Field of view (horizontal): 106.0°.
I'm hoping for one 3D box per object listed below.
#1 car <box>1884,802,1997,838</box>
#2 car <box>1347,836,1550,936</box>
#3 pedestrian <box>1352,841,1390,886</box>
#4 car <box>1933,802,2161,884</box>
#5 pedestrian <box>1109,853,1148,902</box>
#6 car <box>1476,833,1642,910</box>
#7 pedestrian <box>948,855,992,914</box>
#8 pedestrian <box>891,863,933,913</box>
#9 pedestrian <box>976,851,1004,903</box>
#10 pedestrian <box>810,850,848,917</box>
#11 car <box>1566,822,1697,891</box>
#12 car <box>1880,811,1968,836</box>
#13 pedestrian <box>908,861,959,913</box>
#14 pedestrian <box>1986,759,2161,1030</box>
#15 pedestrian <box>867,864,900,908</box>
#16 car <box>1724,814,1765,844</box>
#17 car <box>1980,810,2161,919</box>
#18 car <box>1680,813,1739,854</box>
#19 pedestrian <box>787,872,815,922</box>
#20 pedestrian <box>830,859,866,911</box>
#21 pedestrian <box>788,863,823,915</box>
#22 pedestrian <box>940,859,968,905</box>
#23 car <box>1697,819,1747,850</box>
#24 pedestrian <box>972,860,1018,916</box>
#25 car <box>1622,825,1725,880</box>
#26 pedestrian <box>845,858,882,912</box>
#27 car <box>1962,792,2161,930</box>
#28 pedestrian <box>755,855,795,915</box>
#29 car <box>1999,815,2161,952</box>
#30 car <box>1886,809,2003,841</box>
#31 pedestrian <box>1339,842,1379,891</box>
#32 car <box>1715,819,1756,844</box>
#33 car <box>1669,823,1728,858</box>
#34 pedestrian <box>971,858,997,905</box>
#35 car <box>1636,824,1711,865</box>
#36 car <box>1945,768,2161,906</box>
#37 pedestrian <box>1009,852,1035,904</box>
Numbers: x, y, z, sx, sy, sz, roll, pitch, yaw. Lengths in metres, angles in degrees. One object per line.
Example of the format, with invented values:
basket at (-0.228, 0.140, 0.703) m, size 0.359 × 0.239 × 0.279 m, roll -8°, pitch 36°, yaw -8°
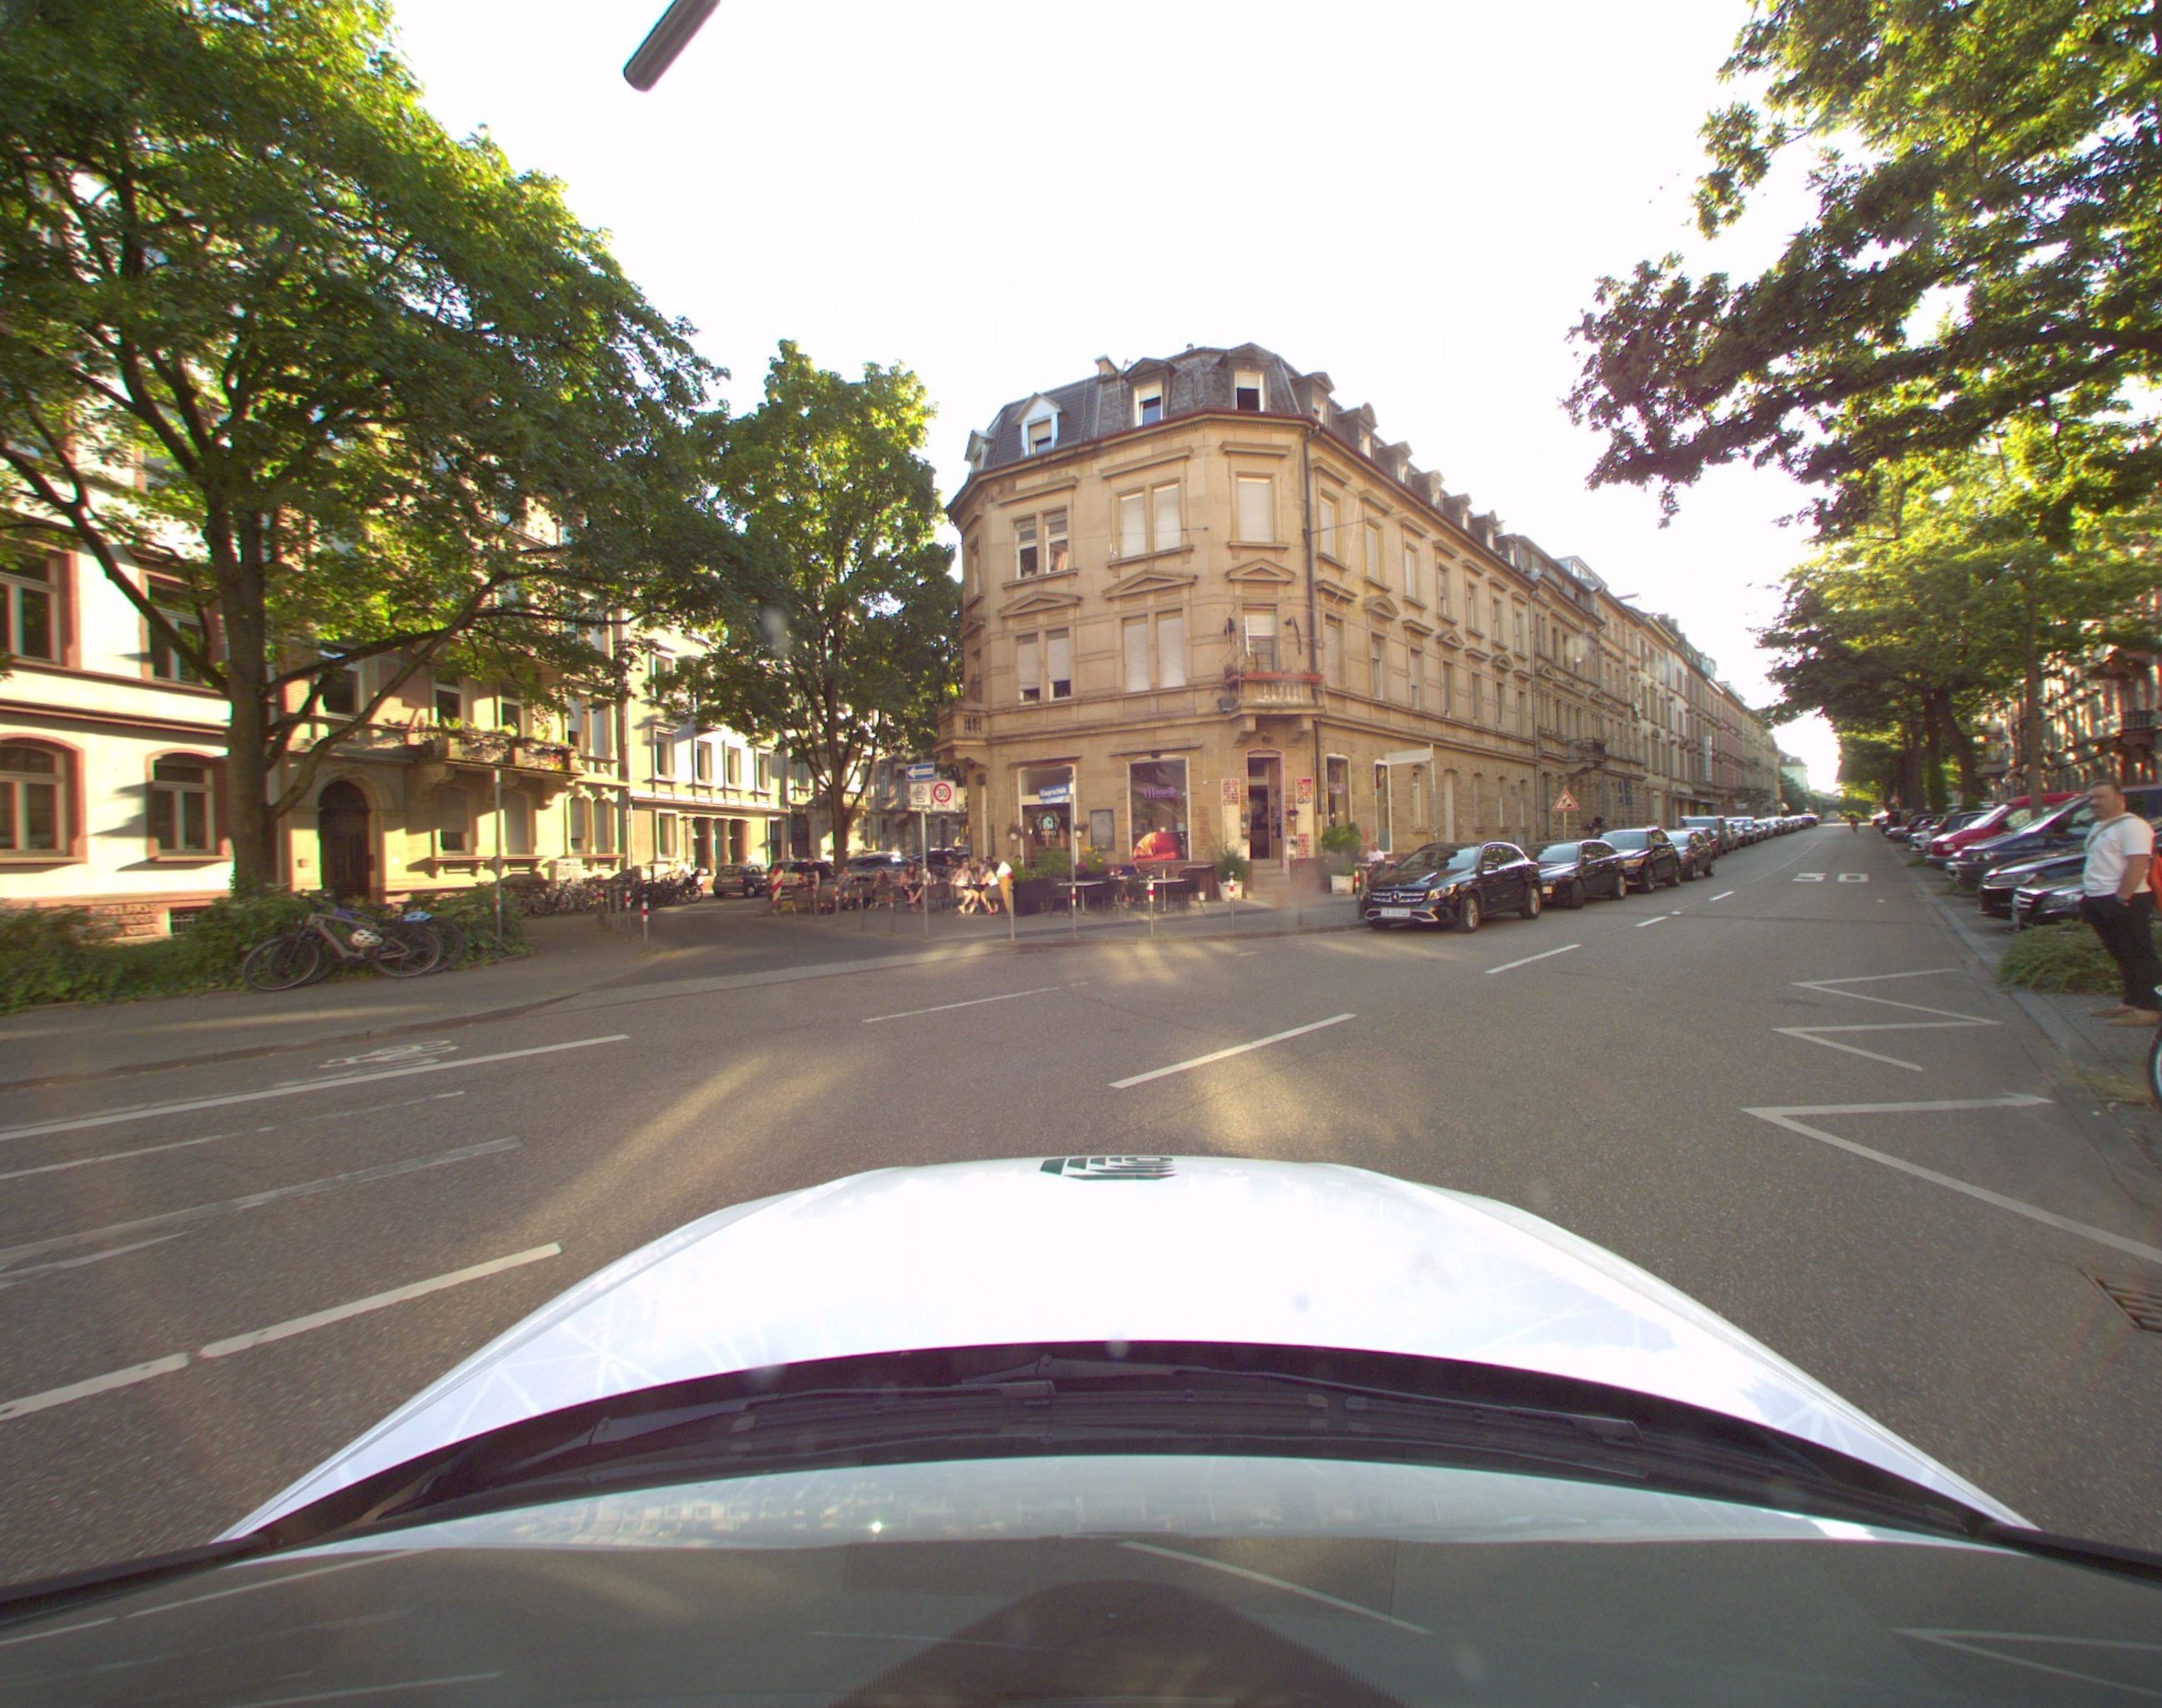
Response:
car at (51.535, -2.009, 48.945) m, size 4.182 × 1.795 × 1.846 m, roll -4°, pitch -1°, yaw 25°
car at (6.714, 0.497, 14.687) m, size 4.161 × 1.488 × 1.743 m, roll -2°, pitch -1°, yaw -42°
pedestrian at (8.037, 0.262, 22.550) m, size 0.718 × 1.213 × 0.761 m, roll -2°, pitch 0°, yaw 42°
car at (21.206, -0.226, 17.373) m, size 4.016 × 1.510 × 1.890 m, roll -5°, pitch -2°, yaw 44°
pedestrian at (1.235, 0.601, 20.987) m, size 0.719 × 1.213 × 0.761 m, roll -2°, pitch 0°, yaw 25°
car at (10.753, 0.329, 18.181) m, size 4.574 × 1.451 × 1.743 m, roll -2°, pitch -1°, yaw -40°
pedestrian at (-2.730, 0.736, 20.051) m, size 0.747 × 1.411 × 0.732 m, roll -2°, pitch 0°, yaw 33°
pedestrian at (-4.434, 0.876, 21.346) m, size 0.697 × 1.248 × 0.754 m, roll -2°, pitch 1°, yaw 42°
pedestrian at (-2.567, 0.644, 22.986) m, size 0.562 × 1.431 × 0.485 m, roll -2°, pitch 1°, yaw 34°
pedestrian at (-6.914, 0.811, 22.323) m, size 0.770 × 1.770 × 0.566 m, roll -3°, pitch -1°, yaw -33°
car at (14.666, 0.029, 21.592) m, size 4.575 × 1.600 × 1.743 m, roll -3°, pitch 0°, yaw -42°
car at (55.831, -2.013, 54.033) m, size 3.813 × 1.294 × 1.729 m, roll -5°, pitch -1°, yaw 41°
pedestrian at (-3.761, 0.826, 20.753) m, size 1.011 × 1.248 × 0.754 m, roll -2°, pitch 1°, yaw 42°
pedestrian at (7.729, 0.281, 6.137) m, size 1.104 × 1.898 × 0.848 m, roll -2°, pitch 0°, yaw 44°
pedestrian at (-5.762, 0.932, 23.725) m, size 0.680 × 1.215 × 0.661 m, roll -3°, pitch -1°, yaw -35°
car at (43.988, -1.694, 53.963) m, size 1.742 × 1.842 × 4.558 m, roll -3°, pitch 0°, yaw 43°
car at (16.091, 0.117, 11.756) m, size 1.735 × 1.534 × 4.068 m, roll -2°, pitch 0°, yaw -45°
car at (31.969, -1.096, 41.354) m, size 1.815 × 1.943 × 5.292 m, roll 0°, pitch 2°, yaw 44°
pedestrian at (-7.674, 1.157, 22.326) m, size 0.574 × 1.320 × 0.499 m, roll -3°, pitch 1°, yaw -35°
pedestrian at (-6.785, 0.898, 23.681) m, size 0.770 × 1.441 × 0.661 m, roll -3°, pitch -1°, yaw -33°
pedestrian at (-7.814, 0.985, 23.087) m, size 0.770 × 1.412 × 0.661 m, roll -3°, pitch -1°, yaw -32°
pedestrian at (-3.545, 0.768, 22.733) m, size 0.476 × 1.248 × 0.513 m, roll -2°, pitch 1°, yaw 42°
car at (36.032, -1.105, 45.726) m, size 1.737 × 1.608 × 4.410 m, roll 0°, pitch 2°, yaw 44°
pedestrian at (-2.063, 0.807, 19.560) m, size 0.736 × 1.289 × 0.747 m, roll -2°, pitch 0°, yaw 35°
car at (18.382, -0.071, 25.204) m, size 4.083 × 1.501 × 1.743 m, roll -3°, pitch 0°, yaw -43°
pedestrian at (-6.089, 0.866, 22.815) m, size 0.770 × 1.441 × 0.661 m, roll -3°, pitch -1°, yaw -33°
car at (14.381, 0.027, 10.042) m, size 1.862 × 1.679 × 4.644 m, roll -2°, pitch -2°, yaw -44°
pedestrian at (-8.867, 0.901, 23.591) m, size 0.659 × 1.669 × 0.772 m, roll -4°, pitch -1°, yaw 43°
car at (12.770, 0.217, 8.073) m, size 1.862 × 1.413 × 4.742 m, roll -2°, pitch -1°, yaw -43°
car at (47.523, -1.595, 44.949) m, size 4.180 × 1.403 × 1.847 m, roll -5°, pitch -1°, yaw 40°
pedestrian at (7.367, 0.324, 21.583) m, size 0.718 × 1.259 × 0.761 m, roll -2°, pitch 0°, yaw 42°
car at (40.719, -1.403, 50.636) m, size 1.742 × 1.467 × 4.025 m, roll 0°, pitch 3°, yaw 43°
car at (28.218, -0.648, 37.195) m, size 3.721 × 1.475 × 1.578 m, roll -3°, pitch 2°, yaw -44°
pedestrian at (-2.638, 0.734, 22.188) m, size 0.476 × 1.248 × 0.436 m, roll -2°, pitch 1°, yaw 42°
car at (24.833, -0.408, 34.086) m, size 4.083 × 1.501 × 1.742 m, roll -3°, pitch 0°, yaw -44°
car at (18.232, -0.307, 13.656) m, size 4.974 × 2.215 × 2.005 m, roll -2°, pitch 0°, yaw 44°
pedestrian at (-1.574, 0.640, 21.777) m, size 0.476 × 1.367 × 0.436 m, roll -2°, pitch 1°, yaw 36°
